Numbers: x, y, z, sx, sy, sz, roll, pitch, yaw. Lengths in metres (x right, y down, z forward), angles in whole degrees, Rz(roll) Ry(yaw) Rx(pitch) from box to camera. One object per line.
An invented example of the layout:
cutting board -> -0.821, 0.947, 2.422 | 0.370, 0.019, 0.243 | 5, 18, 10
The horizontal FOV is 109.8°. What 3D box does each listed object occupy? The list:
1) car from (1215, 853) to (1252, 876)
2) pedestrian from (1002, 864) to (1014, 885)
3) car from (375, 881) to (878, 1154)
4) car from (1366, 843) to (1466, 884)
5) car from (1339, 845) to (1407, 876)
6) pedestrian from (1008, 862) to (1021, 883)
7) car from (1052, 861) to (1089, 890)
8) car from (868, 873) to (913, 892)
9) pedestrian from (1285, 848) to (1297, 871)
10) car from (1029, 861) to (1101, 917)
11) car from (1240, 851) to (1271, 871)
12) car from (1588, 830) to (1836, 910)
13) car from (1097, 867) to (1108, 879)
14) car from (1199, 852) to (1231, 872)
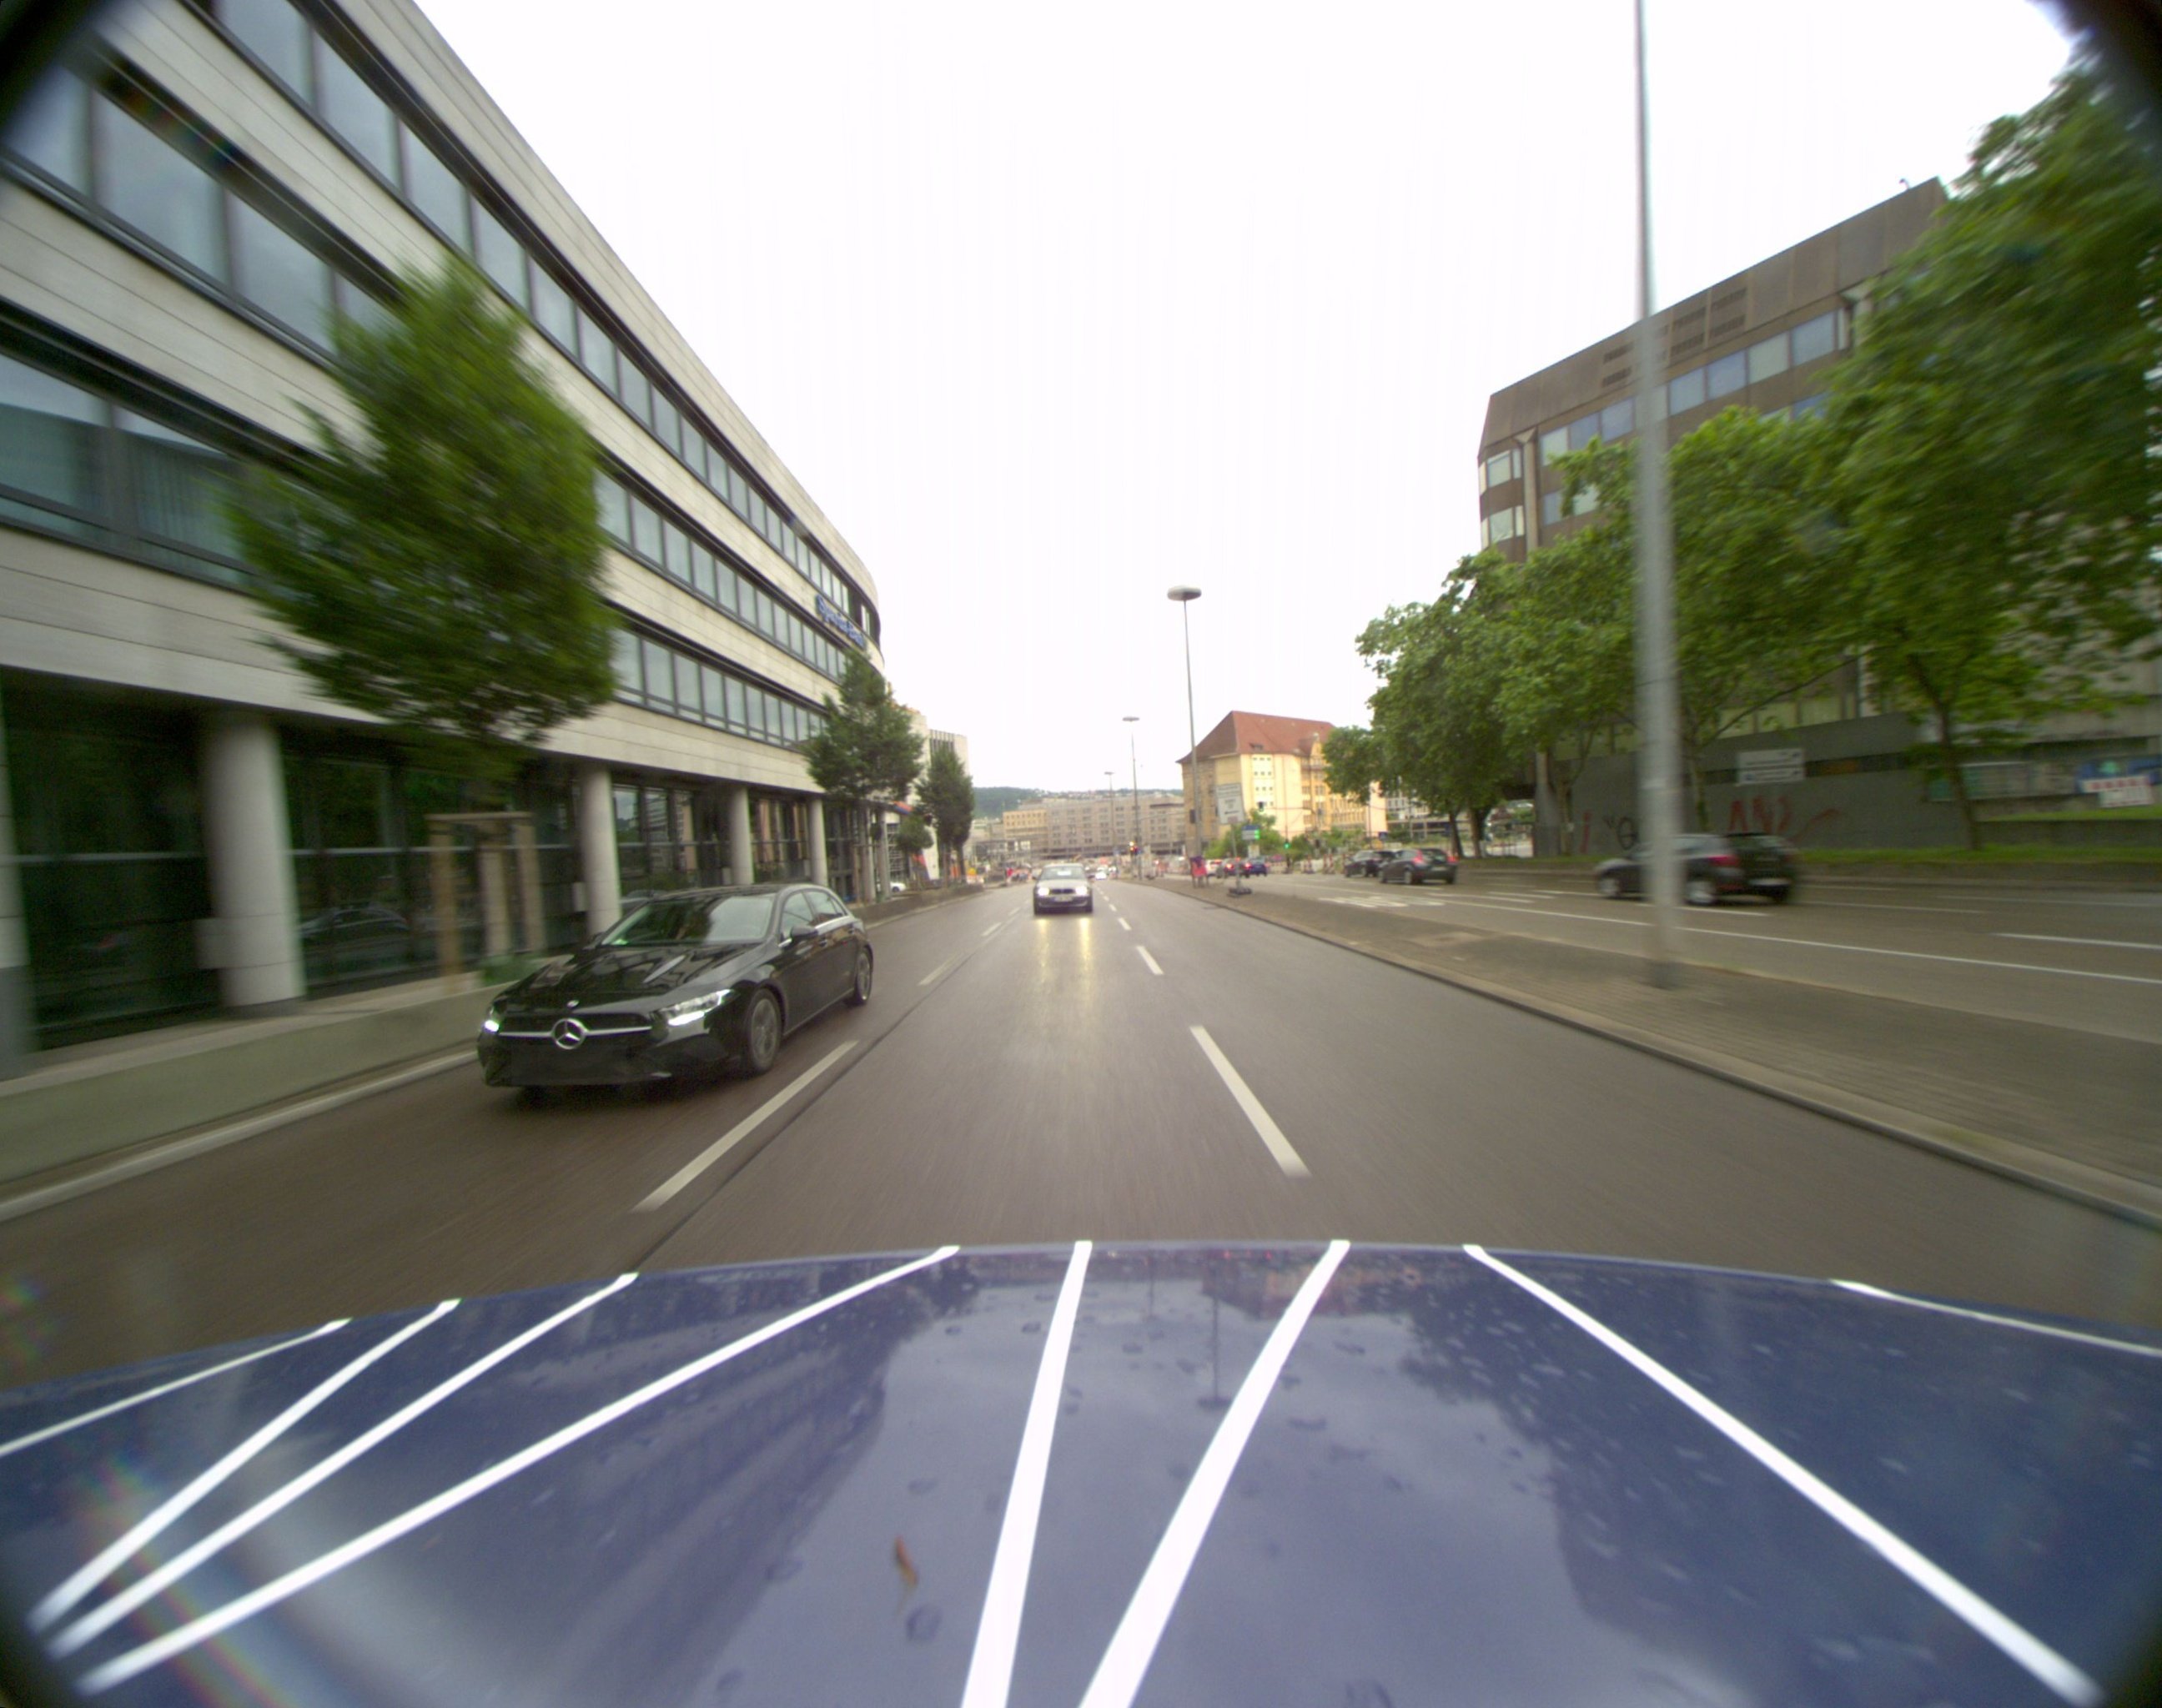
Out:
car -> 10.720, 0.721, 53.588 | 1.798, 1.477, 3.863 | -3, 0, 0
pedestrian -> -6.845, 1.915, 71.079 | 0.992, 1.936, 0.767 | -2, 1, 2
car -> -3.319, 1.069, 6.717 | 1.877, 1.428, 4.205 | -3, 0, -1
car -> 13.113, 0.362, 30.101 | 1.938, 1.428, 4.506 | -2, 0, 0
car -> 15.851, 0.328, 41.540 | 1.938, 1.491, 4.506 | -3, 0, 0
pedestrian -> -6.290, 1.762, 72.131 | 0.765, 1.936, 0.994 | -2, 1, 19
car -> -0.516, 1.105, 40.518 | 1.863, 1.449, 4.205 | -1, 0, 0
car -> -19.105, 2.831, 76.271 | 3.997, 1.610, 1.844 | -2, 1, -1
pedestrian -> 19.120, 0.494, 69.177 | 0.812, 2.002, 0.662 | -3, 1, -31
car -> -0.389, 0.978, 23.065 | 1.863, 1.428, 4.206 | -3, 0, 2
car -> 13.977, 0.529, 61.119 | 1.798, 1.477, 3.438 | -2, 0, 2
car -> 13.239, 0.302, 16.346 | 1.938, 1.428, 4.076 | -2, 0, 1
car -> 3.973, 3.503, 140.027 | 1.998, 2.002, 4.000 | -2, 0, 2
car -> 10.658, 0.598, 60.783 | 1.798, 1.477, 3.863 | -3, 0, 0
